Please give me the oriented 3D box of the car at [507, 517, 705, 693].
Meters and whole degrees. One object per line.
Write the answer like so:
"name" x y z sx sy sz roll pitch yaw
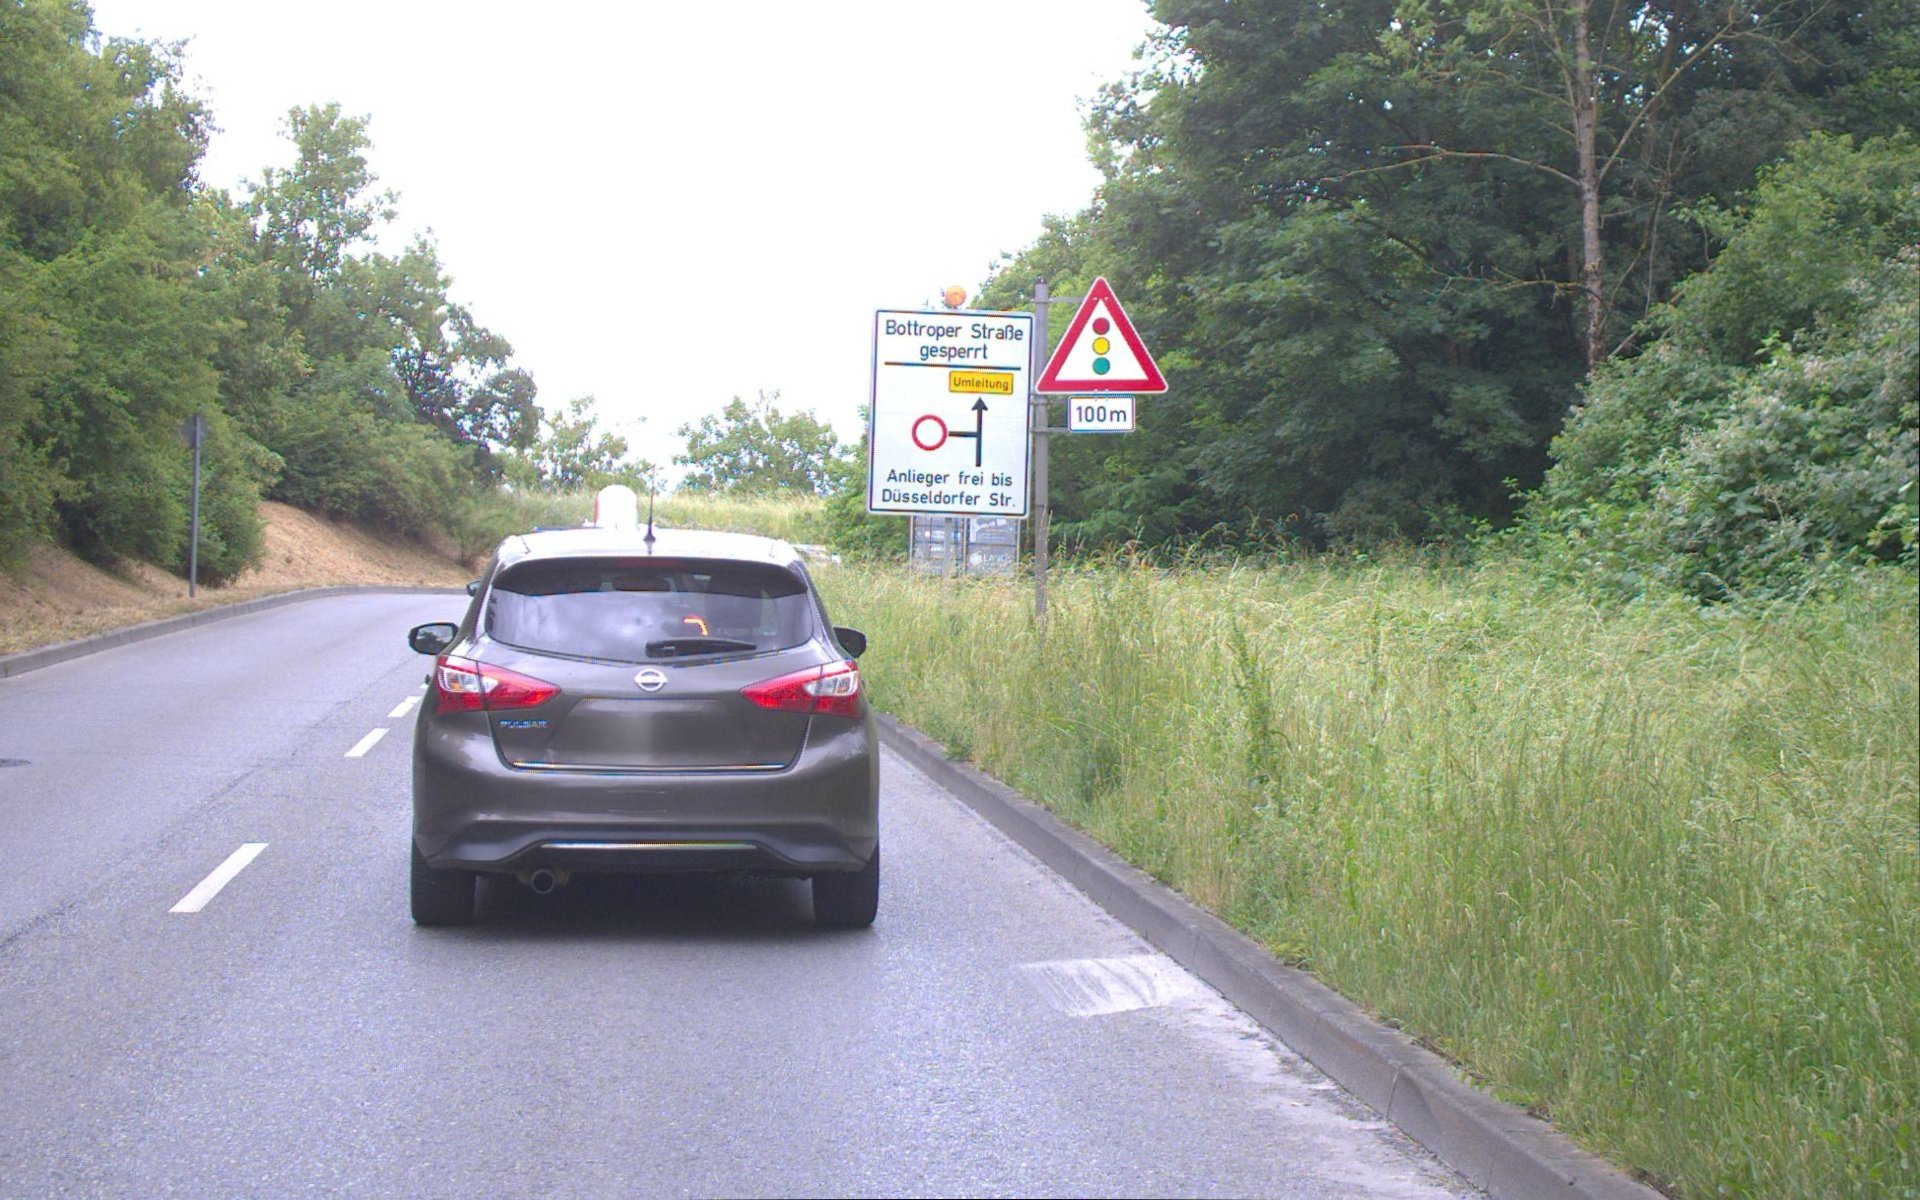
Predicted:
"car" -3.277 0.000 32.092 1.735 1.551 3.544 0 1 -5

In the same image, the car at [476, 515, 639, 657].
"car" -4.567 -0.199 39.380 1.735 1.551 3.544 0 1 -5

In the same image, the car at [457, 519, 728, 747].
"car" -2.656 0.184 25.217 1.830 1.551 3.625 0 1 -5

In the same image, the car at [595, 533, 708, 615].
"car" -5.887 -0.521 66.002 1.736 1.521 3.641 0 1 2

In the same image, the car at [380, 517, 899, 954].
"car" -1.304 0.450 14.033 1.830 1.551 3.500 1 1 -5

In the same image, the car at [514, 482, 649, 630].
"car" -5.084 -0.614 46.534 1.735 1.928 3.544 0 1 -5
